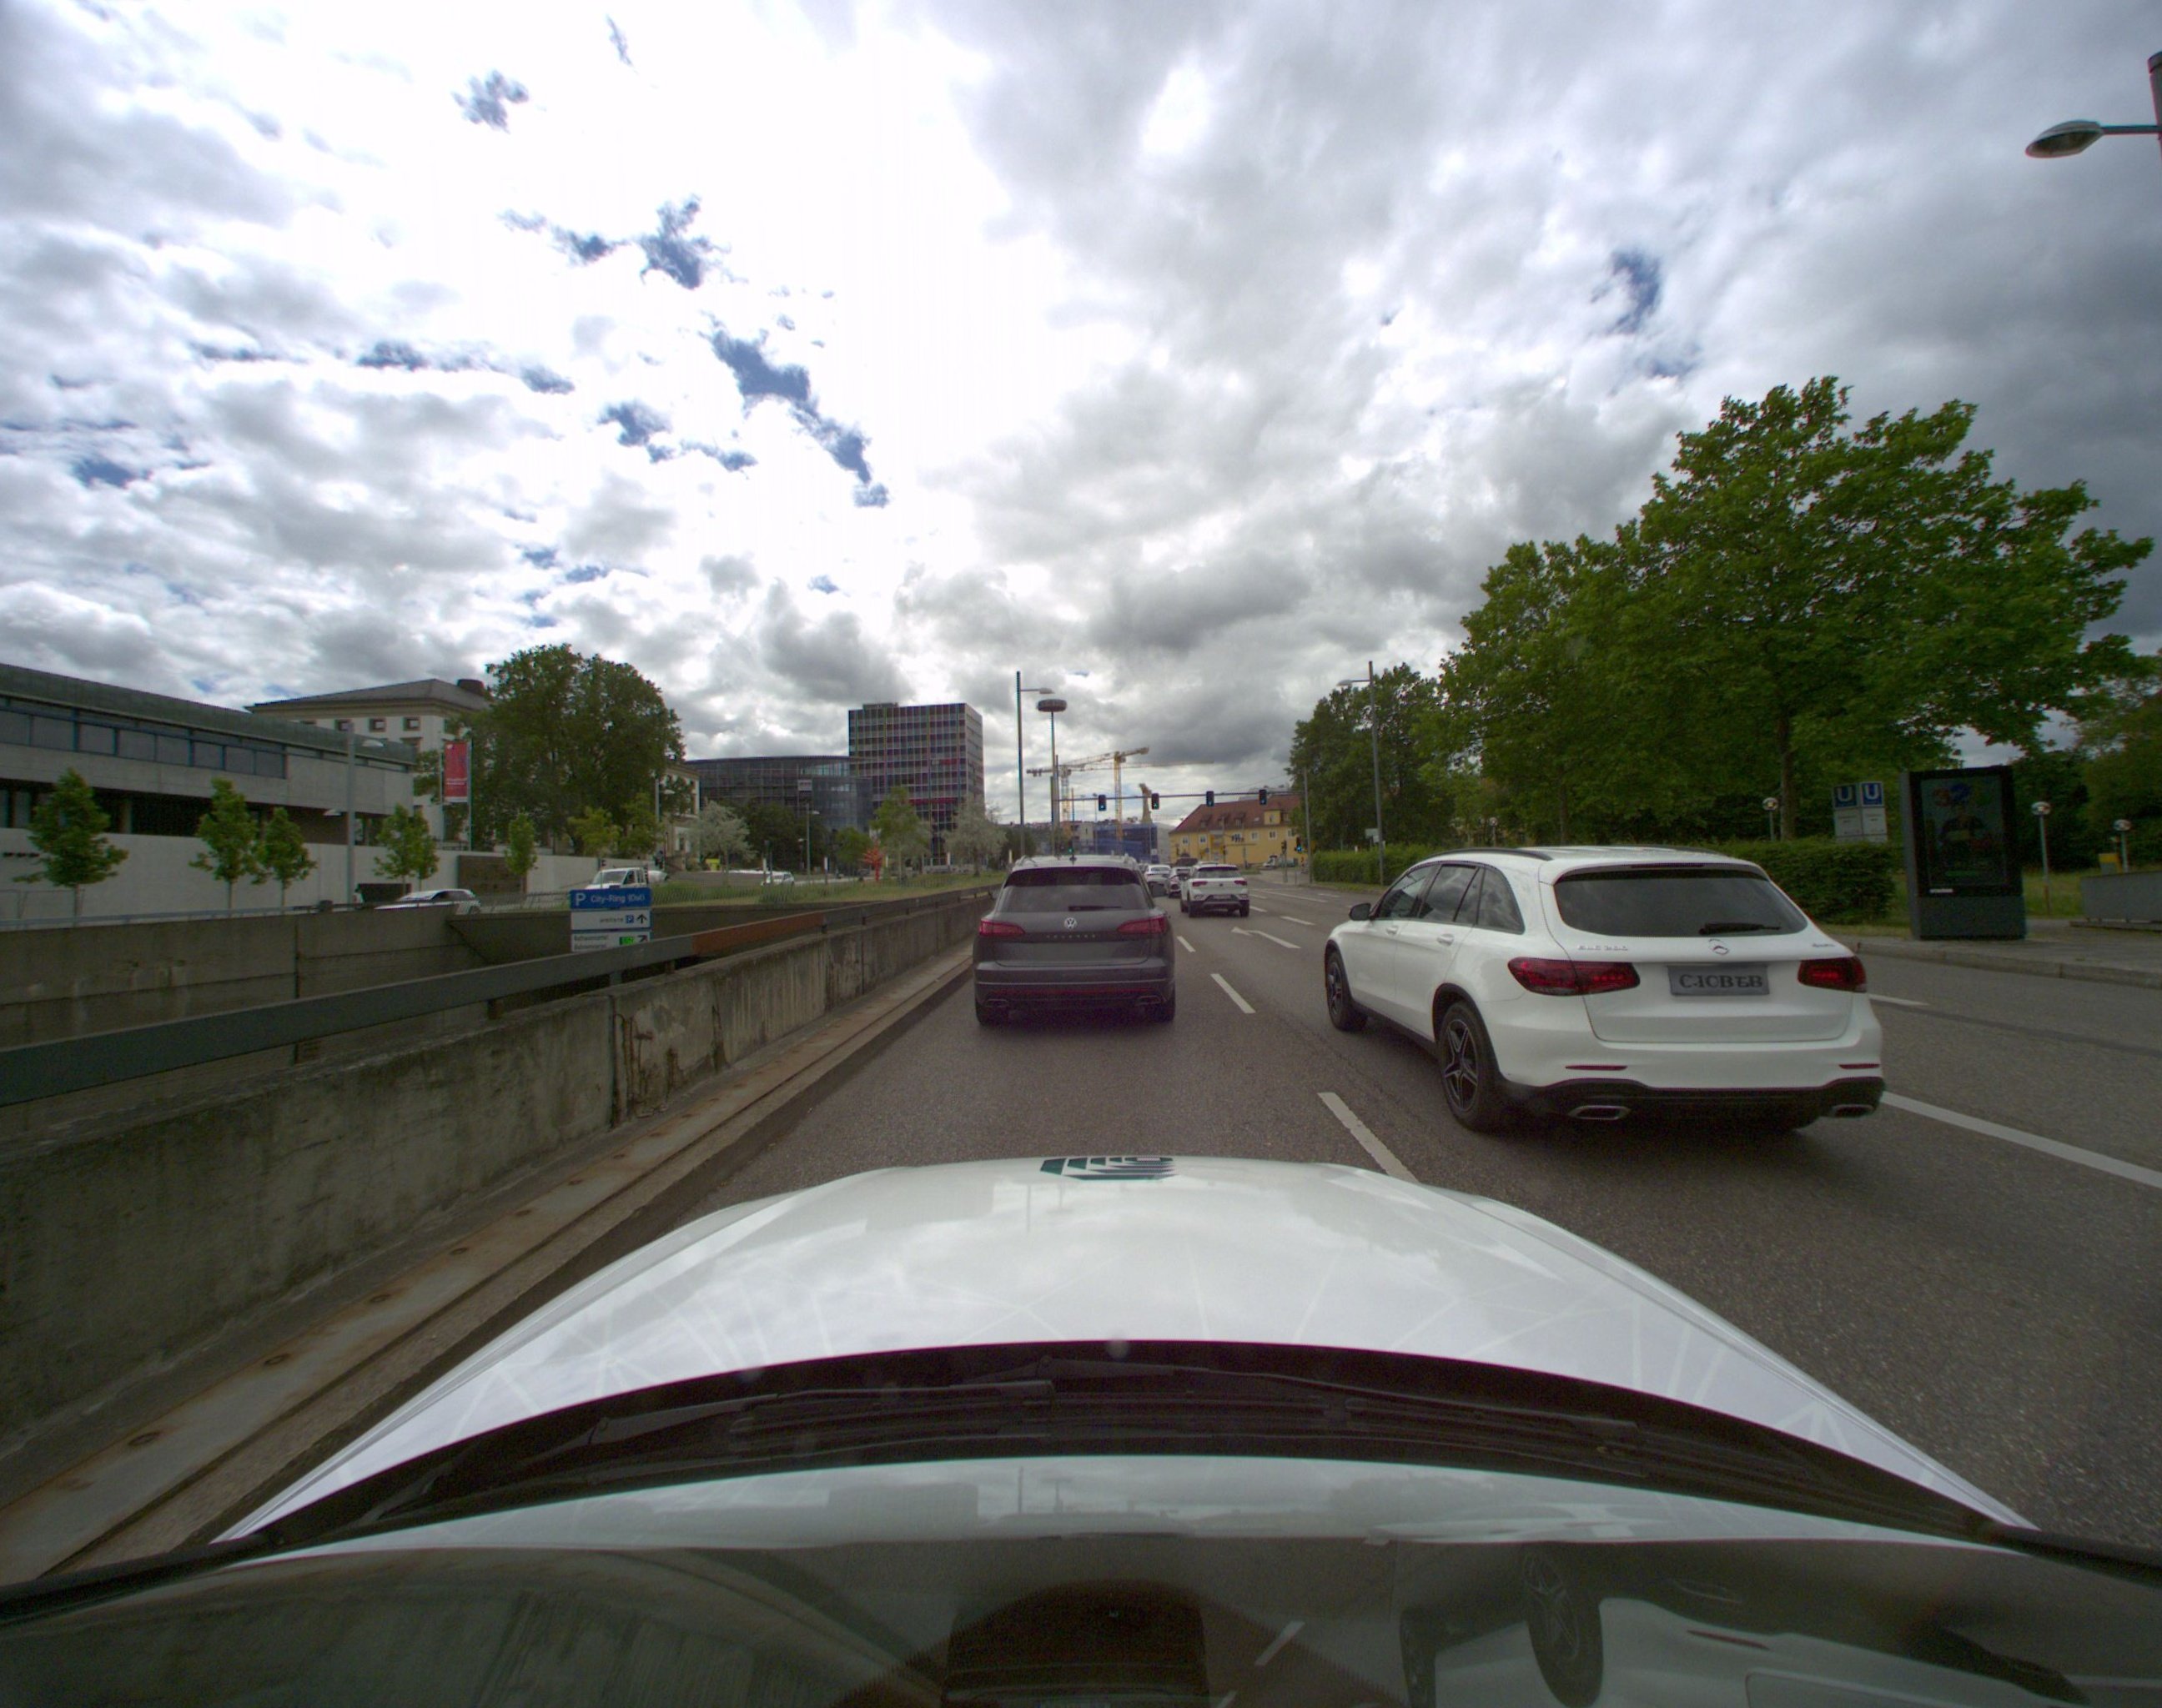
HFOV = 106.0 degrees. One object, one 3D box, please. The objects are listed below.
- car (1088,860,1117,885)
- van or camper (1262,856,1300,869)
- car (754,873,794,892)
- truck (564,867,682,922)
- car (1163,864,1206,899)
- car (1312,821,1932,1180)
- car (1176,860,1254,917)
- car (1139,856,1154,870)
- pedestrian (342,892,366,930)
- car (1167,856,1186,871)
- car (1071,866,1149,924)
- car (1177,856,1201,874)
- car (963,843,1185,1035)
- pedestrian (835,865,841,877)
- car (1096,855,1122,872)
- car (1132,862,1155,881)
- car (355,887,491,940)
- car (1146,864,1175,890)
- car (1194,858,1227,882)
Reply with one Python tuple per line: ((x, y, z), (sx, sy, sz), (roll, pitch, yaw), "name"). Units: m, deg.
((1.428, 1.182, 53.623), (1.807, 1.496, 3.908), (-1, 0, 2), "car")
((34.632, 1.480, 141.083), (5.946, 2.014, 2.032), (-2, -1, 37), "van or camper")
((-28.579, 2.655, 75.852), (1.711, 1.574, 4.616), (-1, 0, 3), "car")
((-26.361, 2.221, 47.313), (2.453, 2.816, 7.084), (-1, 0, 3), "truck")
((4.806, 1.228, 38.235), (1.711, 1.502, 4.147), (-1, 0, 3), "car")
((3.122, 0.698, 5.979), (1.811, 1.647, 4.382), (-1, 0, 3), "car")
((4.055, 1.001, 25.198), (1.886, 1.585, 3.802), (-1, 0, 2), "car")
((9.894, 1.330, 122.859), (1.986, 2.014, 4.002), (-1, 0, 2), "car")
((-34.375, 2.677, 38.502), (0.538, 1.734, 0.664), (-1, -1, 2), "pedestrian")
((9.835, 0.982, 83.821), (1.711, 1.502, 3.984), (-1, 0, 3), "car")
((0.821, 1.097, 23.134), (1.986, 1.387, 4.002), (-1, 0, 2), "car")
((9.350, 0.933, 70.607), (1.711, 1.502, 3.984), (-1, 0, 3), "car")
((0.003, 0.756, 9.143), (1.925, 1.647, 4.002), (-1, 0, 2), "car")
((-33.964, 2.330, 113.855), (0.522, 1.649, 0.650), (0, -1, 0), "pedestrian")
((2.609, 0.851, 74.094), (2.235, 1.502, 4.615), (-1, 0, 3), "car")
((6.094, 1.676, 79.435), (2.129, 1.728, 4.075), (-1, -1, 4), "car")
((-26.903, 2.382, 33.501), (1.986, 1.816, 4.260), (-1, 0, 2), "car")
((4.959, 1.374, 50.669), (1.710, 1.502, 3.987), (-1, 0, 5), "car")
((8.766, 1.069, 55.357), (1.795, 1.502, 3.984), (-1, 0, 3), "car")
